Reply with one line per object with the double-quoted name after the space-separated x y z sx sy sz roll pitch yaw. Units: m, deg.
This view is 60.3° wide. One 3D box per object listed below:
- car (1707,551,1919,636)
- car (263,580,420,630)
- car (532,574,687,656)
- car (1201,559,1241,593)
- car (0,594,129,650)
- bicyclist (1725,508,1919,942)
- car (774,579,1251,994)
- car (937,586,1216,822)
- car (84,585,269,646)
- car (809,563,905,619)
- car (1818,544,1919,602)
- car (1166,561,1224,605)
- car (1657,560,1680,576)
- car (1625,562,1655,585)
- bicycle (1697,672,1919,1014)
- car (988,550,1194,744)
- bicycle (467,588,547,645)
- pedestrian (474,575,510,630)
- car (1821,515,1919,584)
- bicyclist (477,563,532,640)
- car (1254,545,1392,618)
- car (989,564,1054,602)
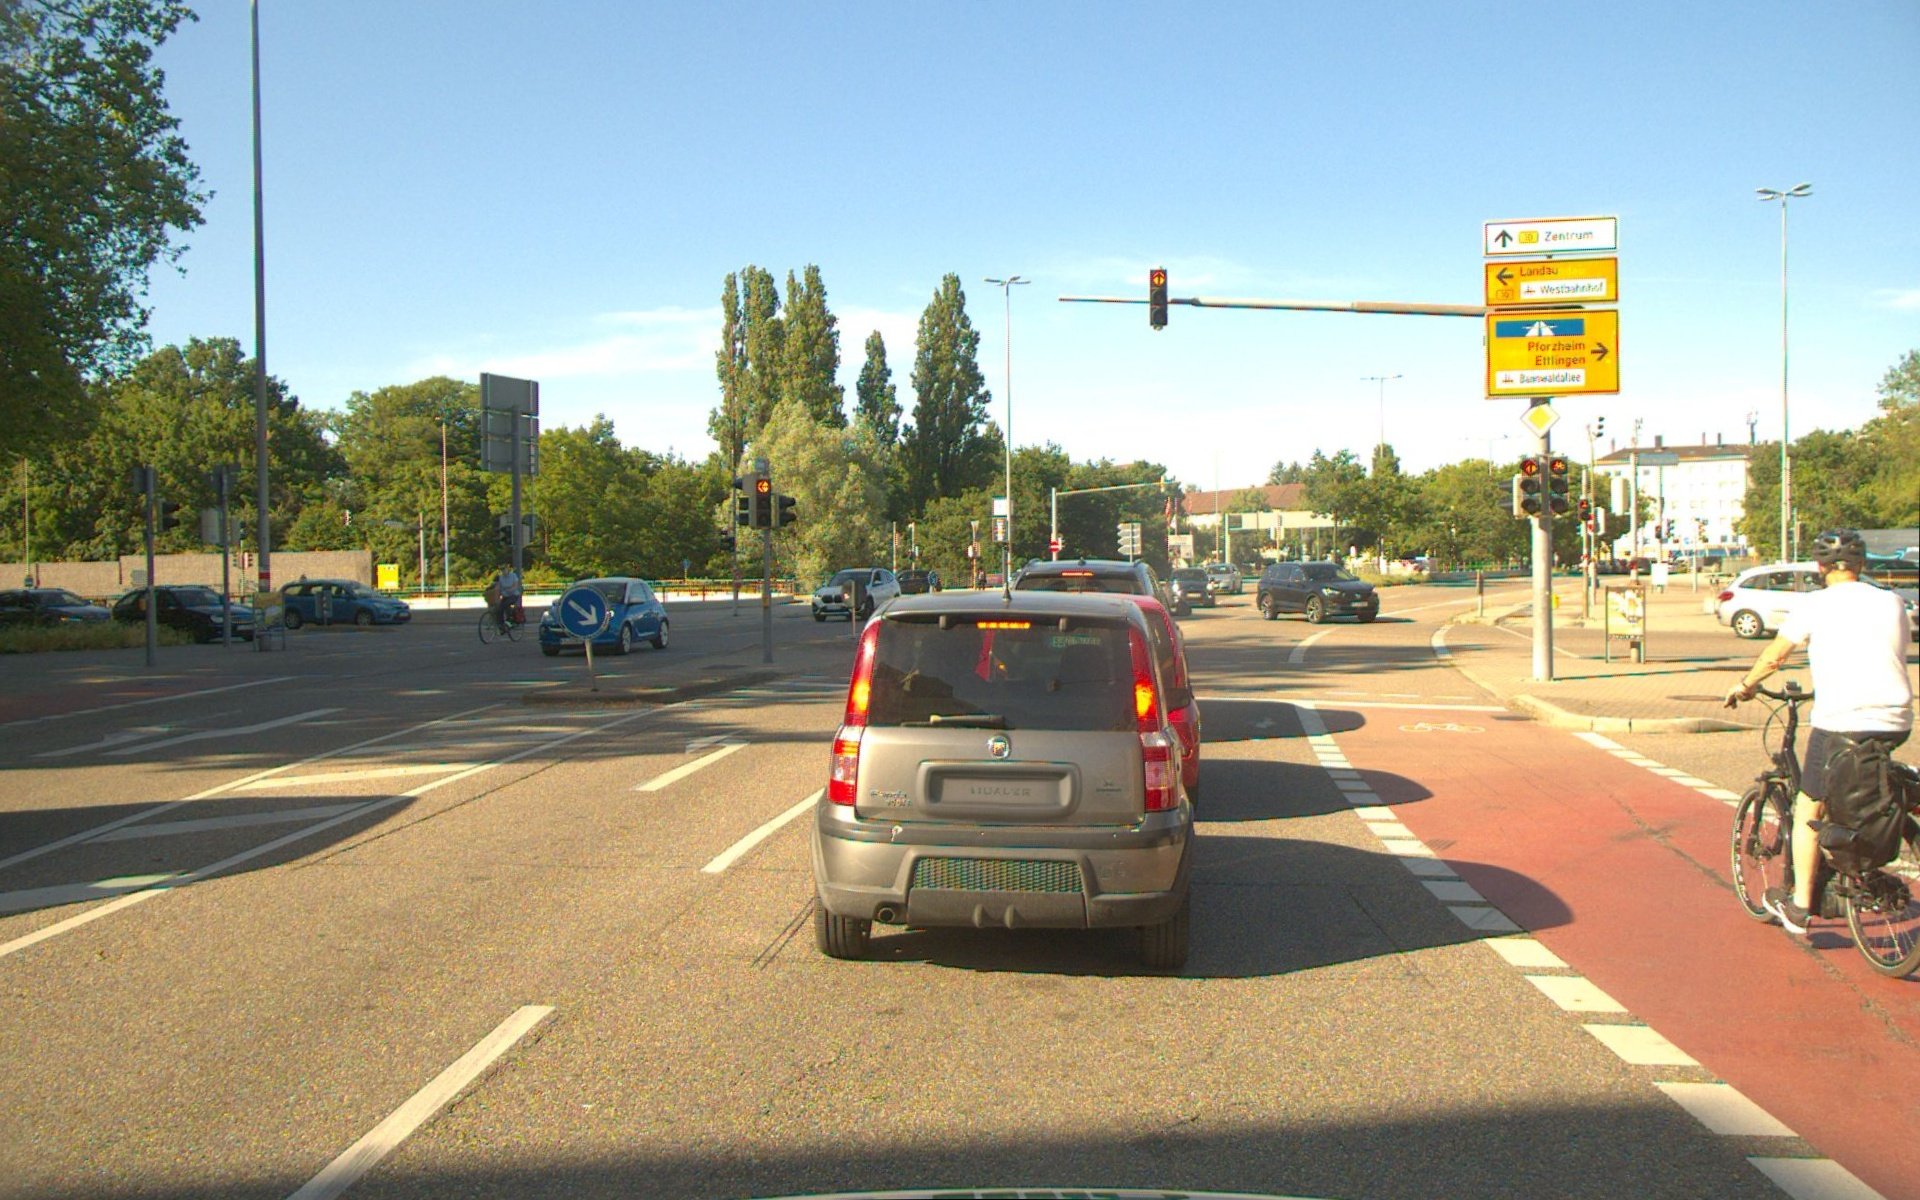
17.572 -0.142 33.549 1.809 1.610 4.044 -2 1 -40 "car"
-19.541 0.154 52.315 4.341 1.464 1.828 -1 1 13 "car"
-7.047 0.250 33.706 1.781 1.529 4.454 -1 1 6 "car"
12.568 -1.186 79.547 1.713 1.519 4.354 0 2 11 "car"
-25.394 0.605 45.862 4.346 1.464 1.826 -1 1 23 "car"
3.874 0.498 7.178 0.782 1.735 1.086 1 0 14 "bicyclist"
0.337 0.678 8.311 1.782 1.515 4.002 2 1 4 "car"
0.909 0.648 12.596 1.781 1.505 4.002 0 0 5 "car"
-20.078 0.392 42.385 4.346 1.464 1.826 -1 1 23 "car"
-3.240 -0.291 52.939 1.794 1.682 4.633 -1 1 13 "car"
34.595 -0.979 62.094 3.924 2.049 1.990 -1 -2 39 "car"
8.874 -0.613 62.175 1.951 1.478 4.003 0 -2 11 "car"
77.177 -3.467 180.115 1.955 1.668 3.995 -1 1 28 "car"
59.416 -2.303 144.531 1.956 1.825 3.993 -1 -2 29 "car"
3.871 0.942 7.190 0.782 1.130 2.404 1 0 14 "bicycle"
1.551 0.405 18.038 1.829 1.821 4.418 1 1 10 "car"
-10.528 0.368 38.570 0.672 1.223 2.329 -1 2 16 "bicycle"
-13.899 0.087 49.108 0.672 1.565 1.365 0 -3 -1 "pedestrian"
38.997 -2.069 69.152 2.238 2.653 4.819 1 -2 -38 "car"
-10.573 0.025 38.431 0.672 1.730 1.199 -1 2 16 "bicyclist"
10.152 -0.473 46.577 1.961 1.868 4.340 1 -2 -16 "car"
2.665 -0.713 70.320 1.651 1.482 3.914 -1 -1 20 "car"
